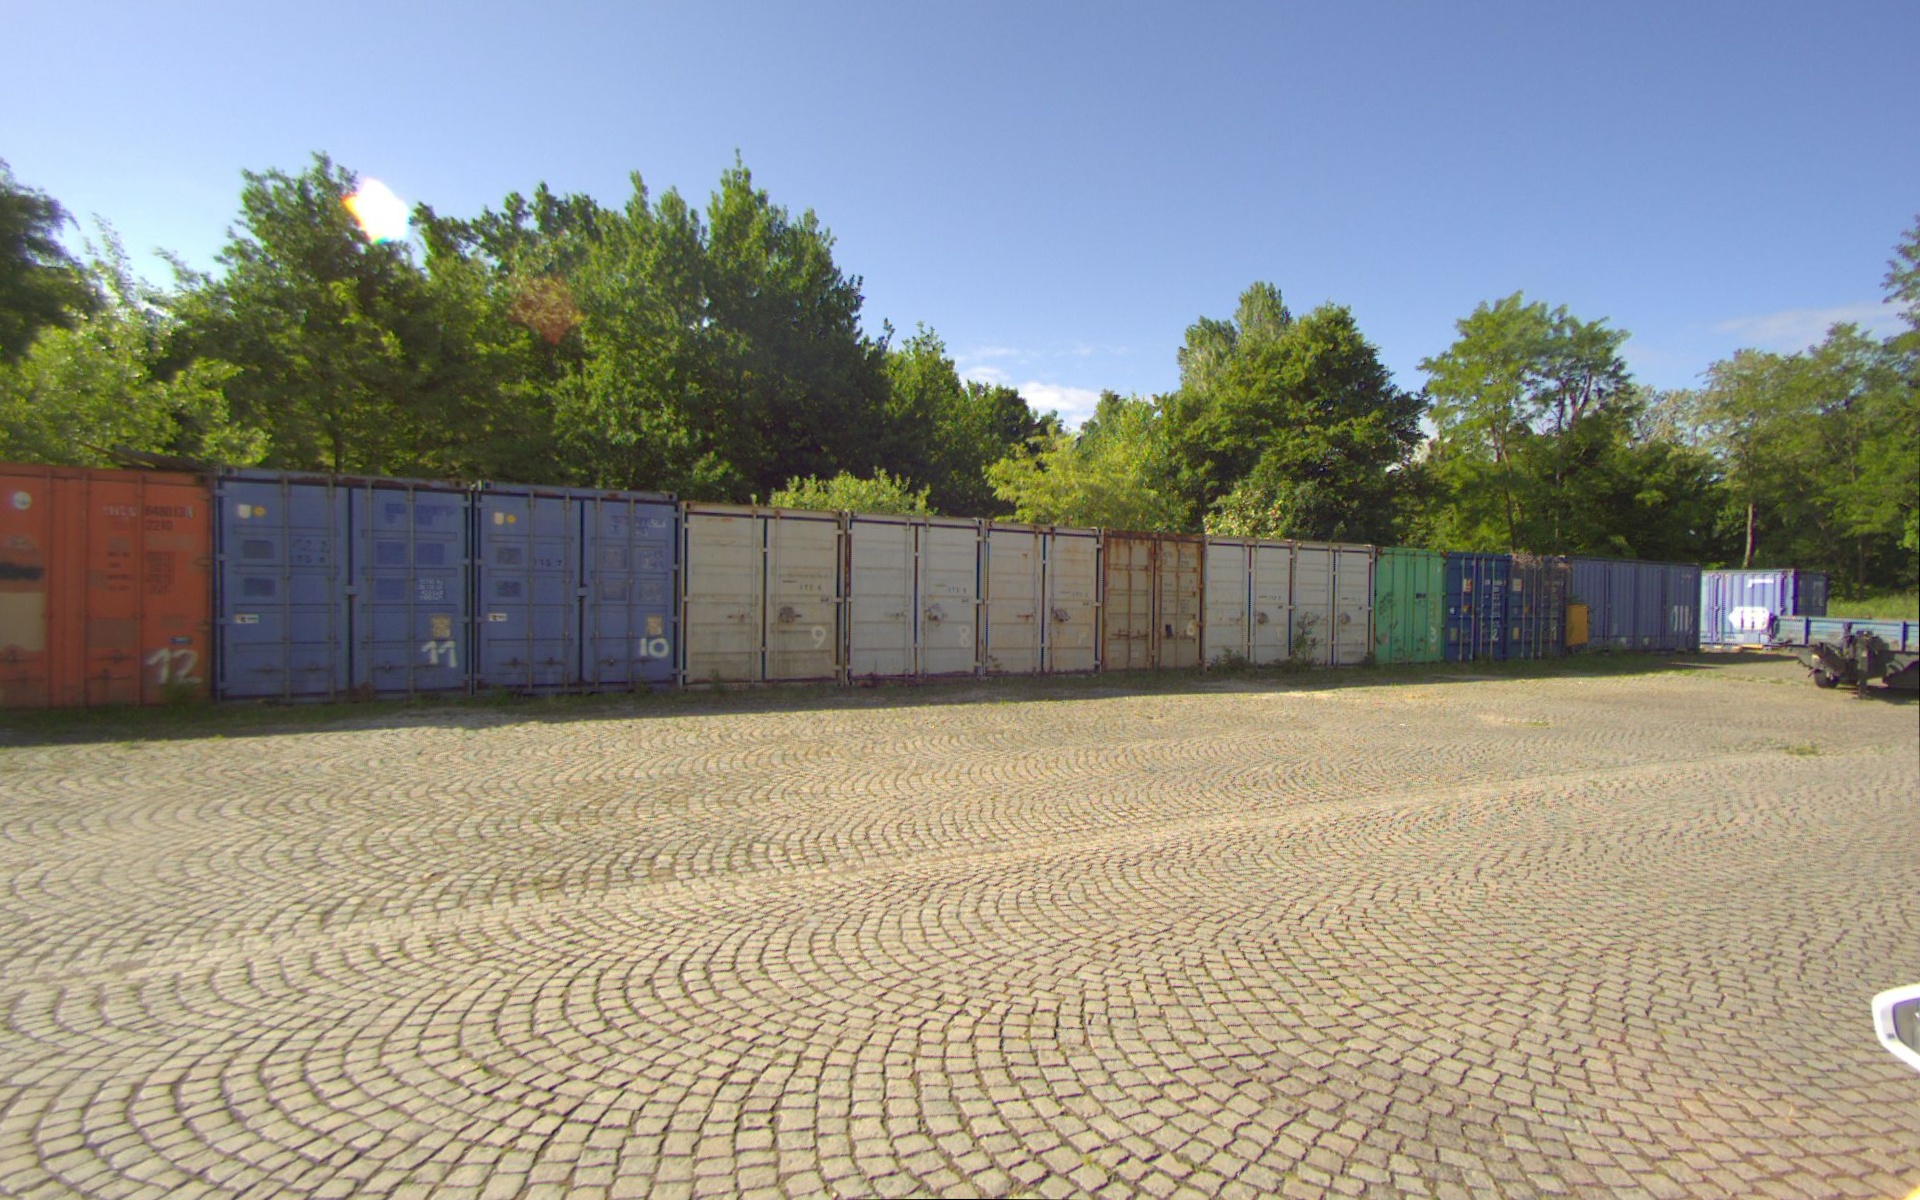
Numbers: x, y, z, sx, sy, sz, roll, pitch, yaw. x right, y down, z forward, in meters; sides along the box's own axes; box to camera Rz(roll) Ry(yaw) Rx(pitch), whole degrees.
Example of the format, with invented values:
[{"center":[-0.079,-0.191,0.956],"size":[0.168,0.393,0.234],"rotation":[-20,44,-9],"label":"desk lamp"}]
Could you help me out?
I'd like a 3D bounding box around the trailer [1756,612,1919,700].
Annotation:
[{"center":[17.884,1.010,19.161],"size":[4.804,1.433,2.628],"rotation":[1,0,-30],"label":"trailer"}]
